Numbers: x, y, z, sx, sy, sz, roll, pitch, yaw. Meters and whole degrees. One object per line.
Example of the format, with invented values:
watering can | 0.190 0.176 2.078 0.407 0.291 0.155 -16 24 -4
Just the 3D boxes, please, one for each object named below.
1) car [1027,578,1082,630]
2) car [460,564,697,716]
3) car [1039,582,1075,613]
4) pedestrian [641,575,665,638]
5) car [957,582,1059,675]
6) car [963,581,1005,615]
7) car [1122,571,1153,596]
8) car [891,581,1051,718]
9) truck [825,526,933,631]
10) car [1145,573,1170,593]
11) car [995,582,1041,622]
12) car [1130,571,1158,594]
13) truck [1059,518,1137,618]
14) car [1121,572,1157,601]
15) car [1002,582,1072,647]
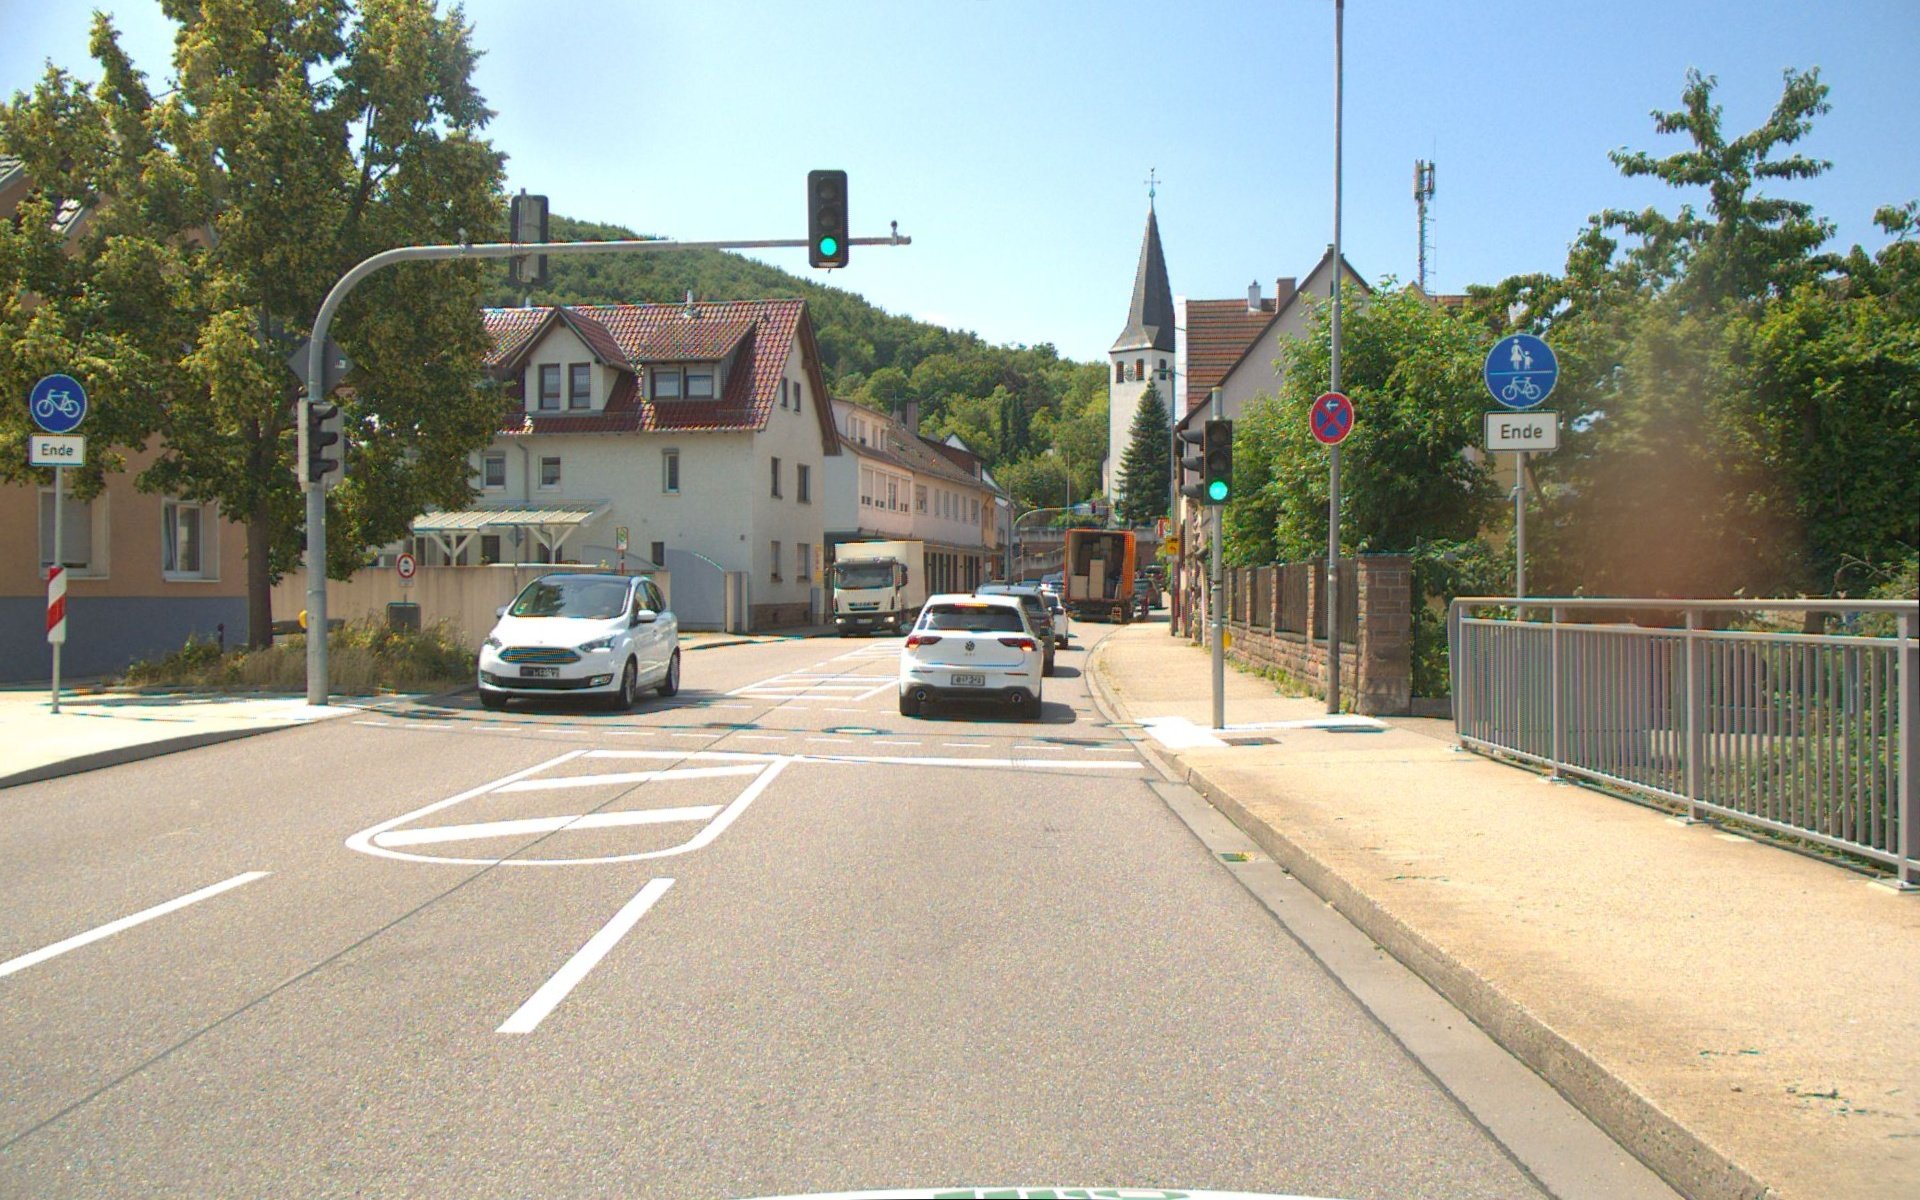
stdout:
car | 3.236 0.140 56.365 1.777 1.657 4.002 -1 0 4
car | -4.644 0.457 20.741 1.777 1.678 4.002 1 0 4
car | 5.046 -0.136 85.765 1.777 1.545 4.002 -1 0 4
pedestrian | -8.746 0.172 47.188 0.425 1.795 0.557 0 0 22
car | 0.988 0.517 31.975 1.777 1.657 4.002 -1 0 4
car | 1.217 -0.130 83.830 1.702 1.680 3.671 0 0 8
car | 11.346 -1.037 105.726 1.777 1.545 4.002 -1 0 4
car | 0.231 0.574 21.146 1.777 1.545 4.002 1 0 4
truck | -2.642 -0.680 55.815 2.448 3.292 6.045 -1 0 8
car | 16.065 -1.381 134.840 1.777 1.545 4.002 -1 0 4
car | 2.454 0.085 68.883 1.777 1.545 4.002 -1 0 4
car | 13.089 -1.260 117.865 1.777 1.545 4.002 -1 0 4
truck | 6.459 -1.381 76.227 3.295 4.243 9.525 -1 0 6
car | 9.820 -0.722 91.138 1.777 1.545 4.002 -1 0 4
car | 2.118 0.373 44.888 1.777 1.657 4.002 -1 0 4
